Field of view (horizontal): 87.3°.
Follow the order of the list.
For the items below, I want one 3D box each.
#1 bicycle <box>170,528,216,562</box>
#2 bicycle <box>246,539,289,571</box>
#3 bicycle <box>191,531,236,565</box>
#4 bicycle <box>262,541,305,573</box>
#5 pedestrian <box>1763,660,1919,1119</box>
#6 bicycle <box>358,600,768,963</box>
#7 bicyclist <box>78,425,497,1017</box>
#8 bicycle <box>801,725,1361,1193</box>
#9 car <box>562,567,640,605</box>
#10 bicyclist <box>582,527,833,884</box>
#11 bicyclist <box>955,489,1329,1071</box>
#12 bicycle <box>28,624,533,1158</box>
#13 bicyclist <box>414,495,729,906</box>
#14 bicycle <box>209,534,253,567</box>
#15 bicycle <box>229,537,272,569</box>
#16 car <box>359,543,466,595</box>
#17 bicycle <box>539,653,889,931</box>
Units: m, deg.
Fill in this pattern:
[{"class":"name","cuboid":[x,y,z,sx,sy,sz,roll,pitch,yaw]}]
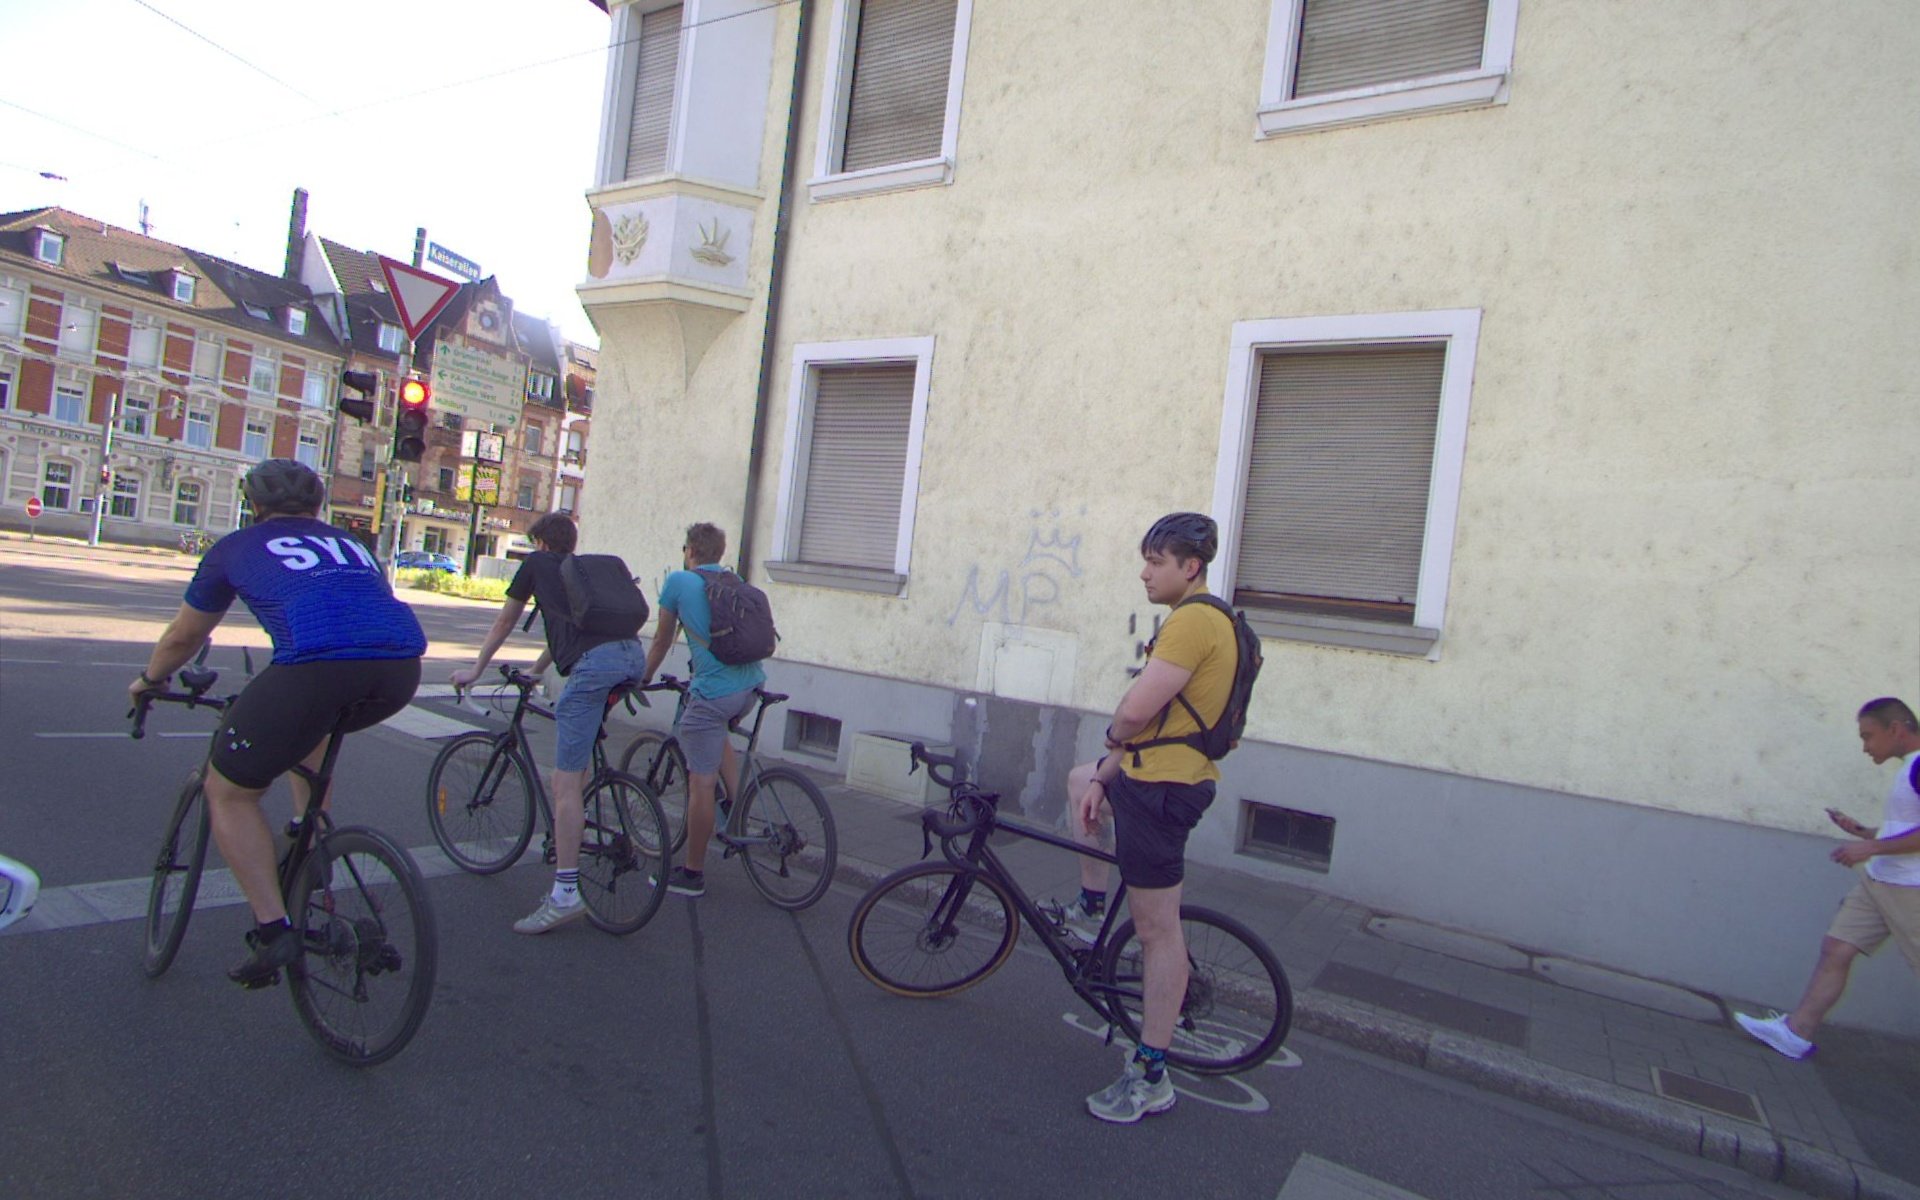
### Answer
[{"class":"bicycle","cuboid":[-34.637,-2.495,45.393,2.618,1.301,0.693,6,-1,33]},{"class":"bicycle","cuboid":[-33.050,-2.155,47.991,2.618,1.301,0.629,6,-1,33]},{"class":"bicycle","cuboid":[-34.201,-2.376,46.065,2.618,1.301,0.693,6,-1,33]},{"class":"bicycle","cuboid":[-32.681,-2.076,48.580,2.618,1.301,0.629,6,-1,33]},{"class":"pedestrian","cuboid":[4.076,1.192,4.284,0.631,1.780,0.584,4,3,-7]},{"class":"bicycle","cuboid":[-1.847,0.738,4.635,1.674,1.251,0.756,6,-1,30]},{"class":"bicyclist","cuboid":[-2.055,0.299,3.074,0.869,1.512,0.639,9,0,36]},{"class":"bicycle","cuboid":[0.394,1.109,3.631,1.751,1.043,0.756,6,-2,33]},{"class":"car","cuboid":[-23.246,-0.872,65.284,1.967,1.798,4.374,6,-2,31]},{"class":"bicyclist","cuboid":[-1.315,0.516,5.274,0.869,1.652,0.690,6,-1,34]},{"class":"bicyclist","cuboid":[0.658,0.539,3.515,0.869,1.682,0.807,6,-1,32]},{"class":"bicycle","cuboid":[-2.156,0.730,3.114,1.676,1.097,0.627,6,-1,35]},{"class":"bicyclist","cuboid":[-1.759,0.419,4.610,0.868,1.625,0.807,6,-1,30]},{"class":"bicycle","cuboid":[-33.834,-2.302,46.689,2.618,1.301,0.629,6,-1,33]},{"class":"bicycle","cuboid":[-33.417,-2.220,47.361,2.618,1.301,0.629,6,-1,33]},{"class":"car","cuboid":[-25.467,-1.426,46.904,1.967,1.798,3.790,6,-2,31]},{"class":"bicycle","cuboid":[-1.321,0.917,5.255,1.742,1.043,0.650,6,-1,33]}]
